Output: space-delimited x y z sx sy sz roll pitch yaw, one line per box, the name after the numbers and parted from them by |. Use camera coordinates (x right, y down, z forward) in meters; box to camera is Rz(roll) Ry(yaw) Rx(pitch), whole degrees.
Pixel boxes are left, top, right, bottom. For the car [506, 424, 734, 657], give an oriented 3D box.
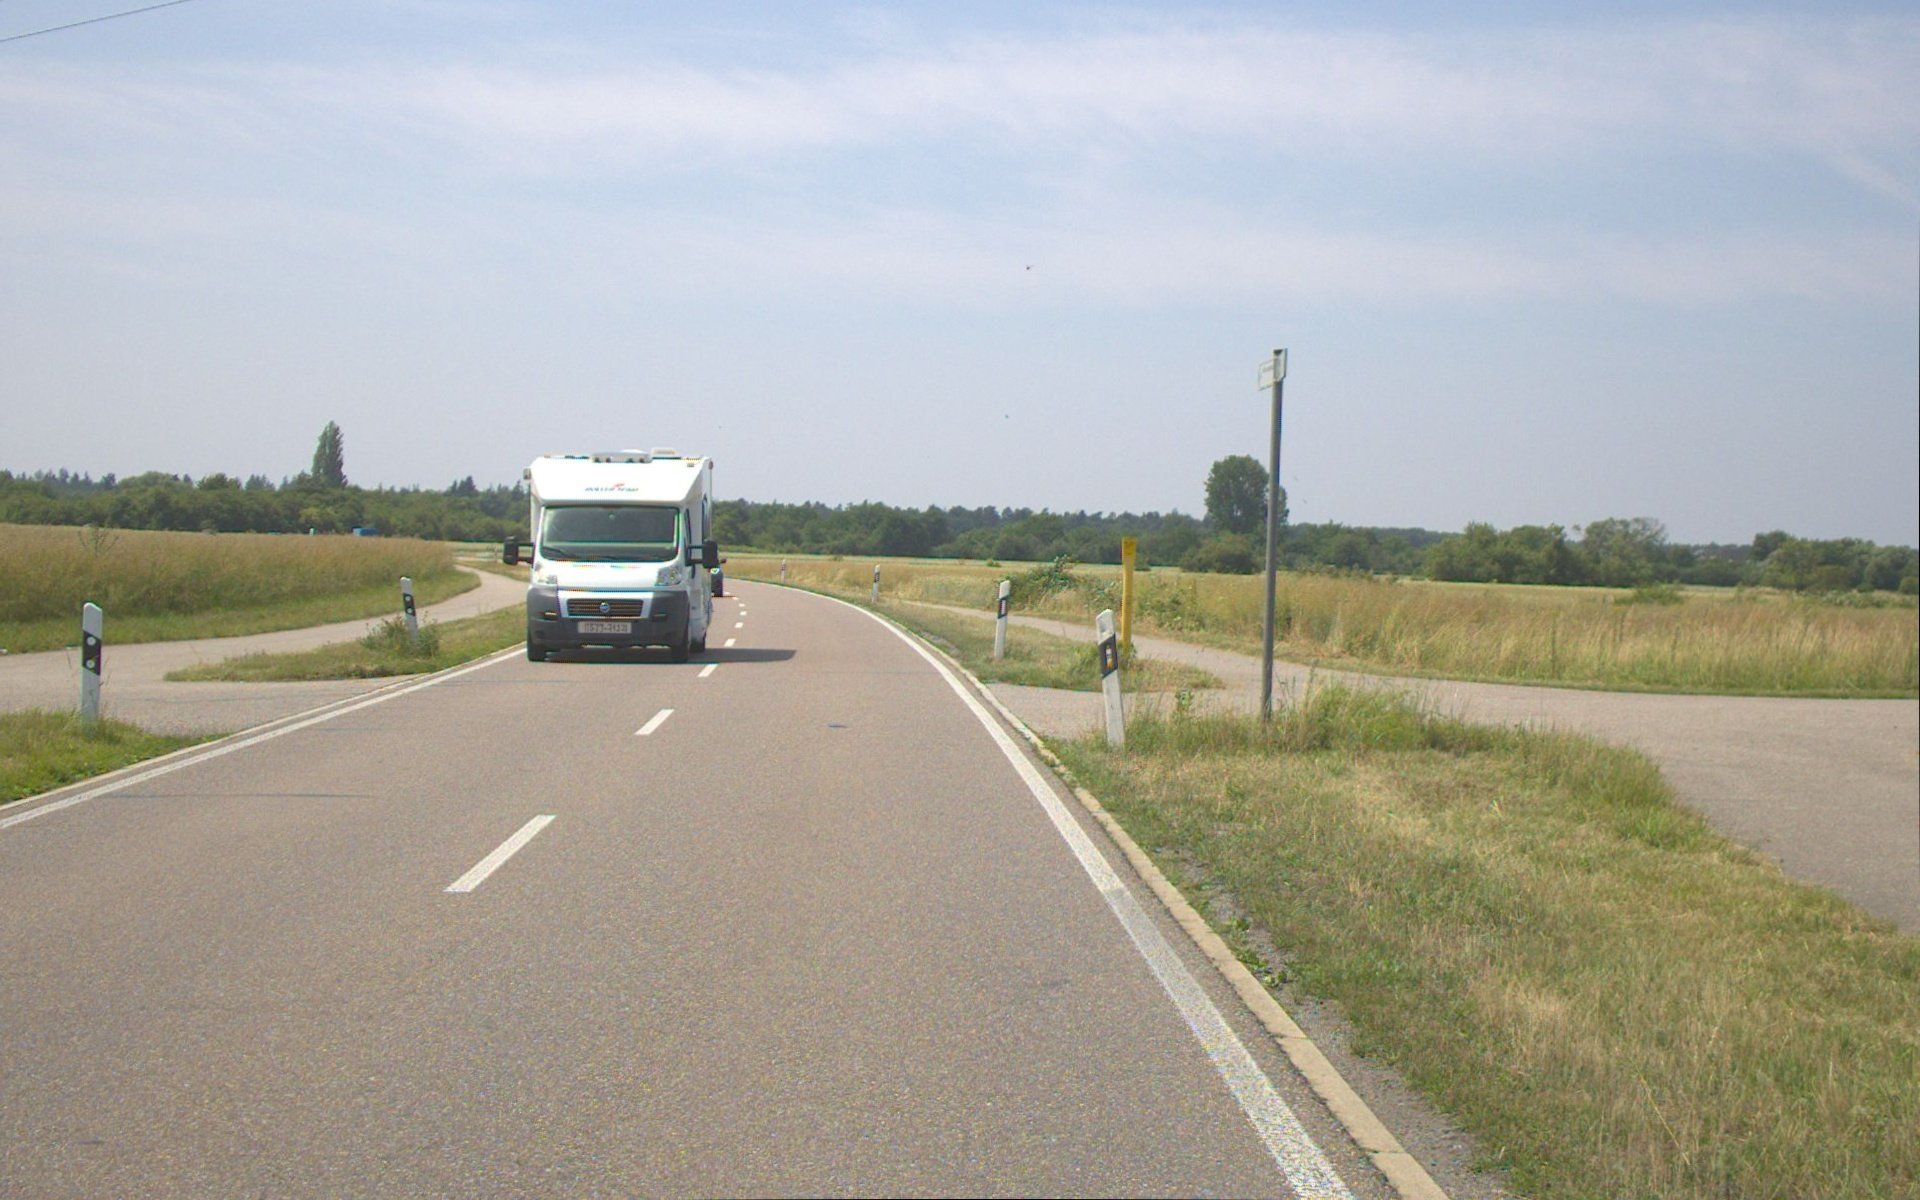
-4.455 -0.798 46.333 2.397 2.837 7.628 1 1 -1 | car
